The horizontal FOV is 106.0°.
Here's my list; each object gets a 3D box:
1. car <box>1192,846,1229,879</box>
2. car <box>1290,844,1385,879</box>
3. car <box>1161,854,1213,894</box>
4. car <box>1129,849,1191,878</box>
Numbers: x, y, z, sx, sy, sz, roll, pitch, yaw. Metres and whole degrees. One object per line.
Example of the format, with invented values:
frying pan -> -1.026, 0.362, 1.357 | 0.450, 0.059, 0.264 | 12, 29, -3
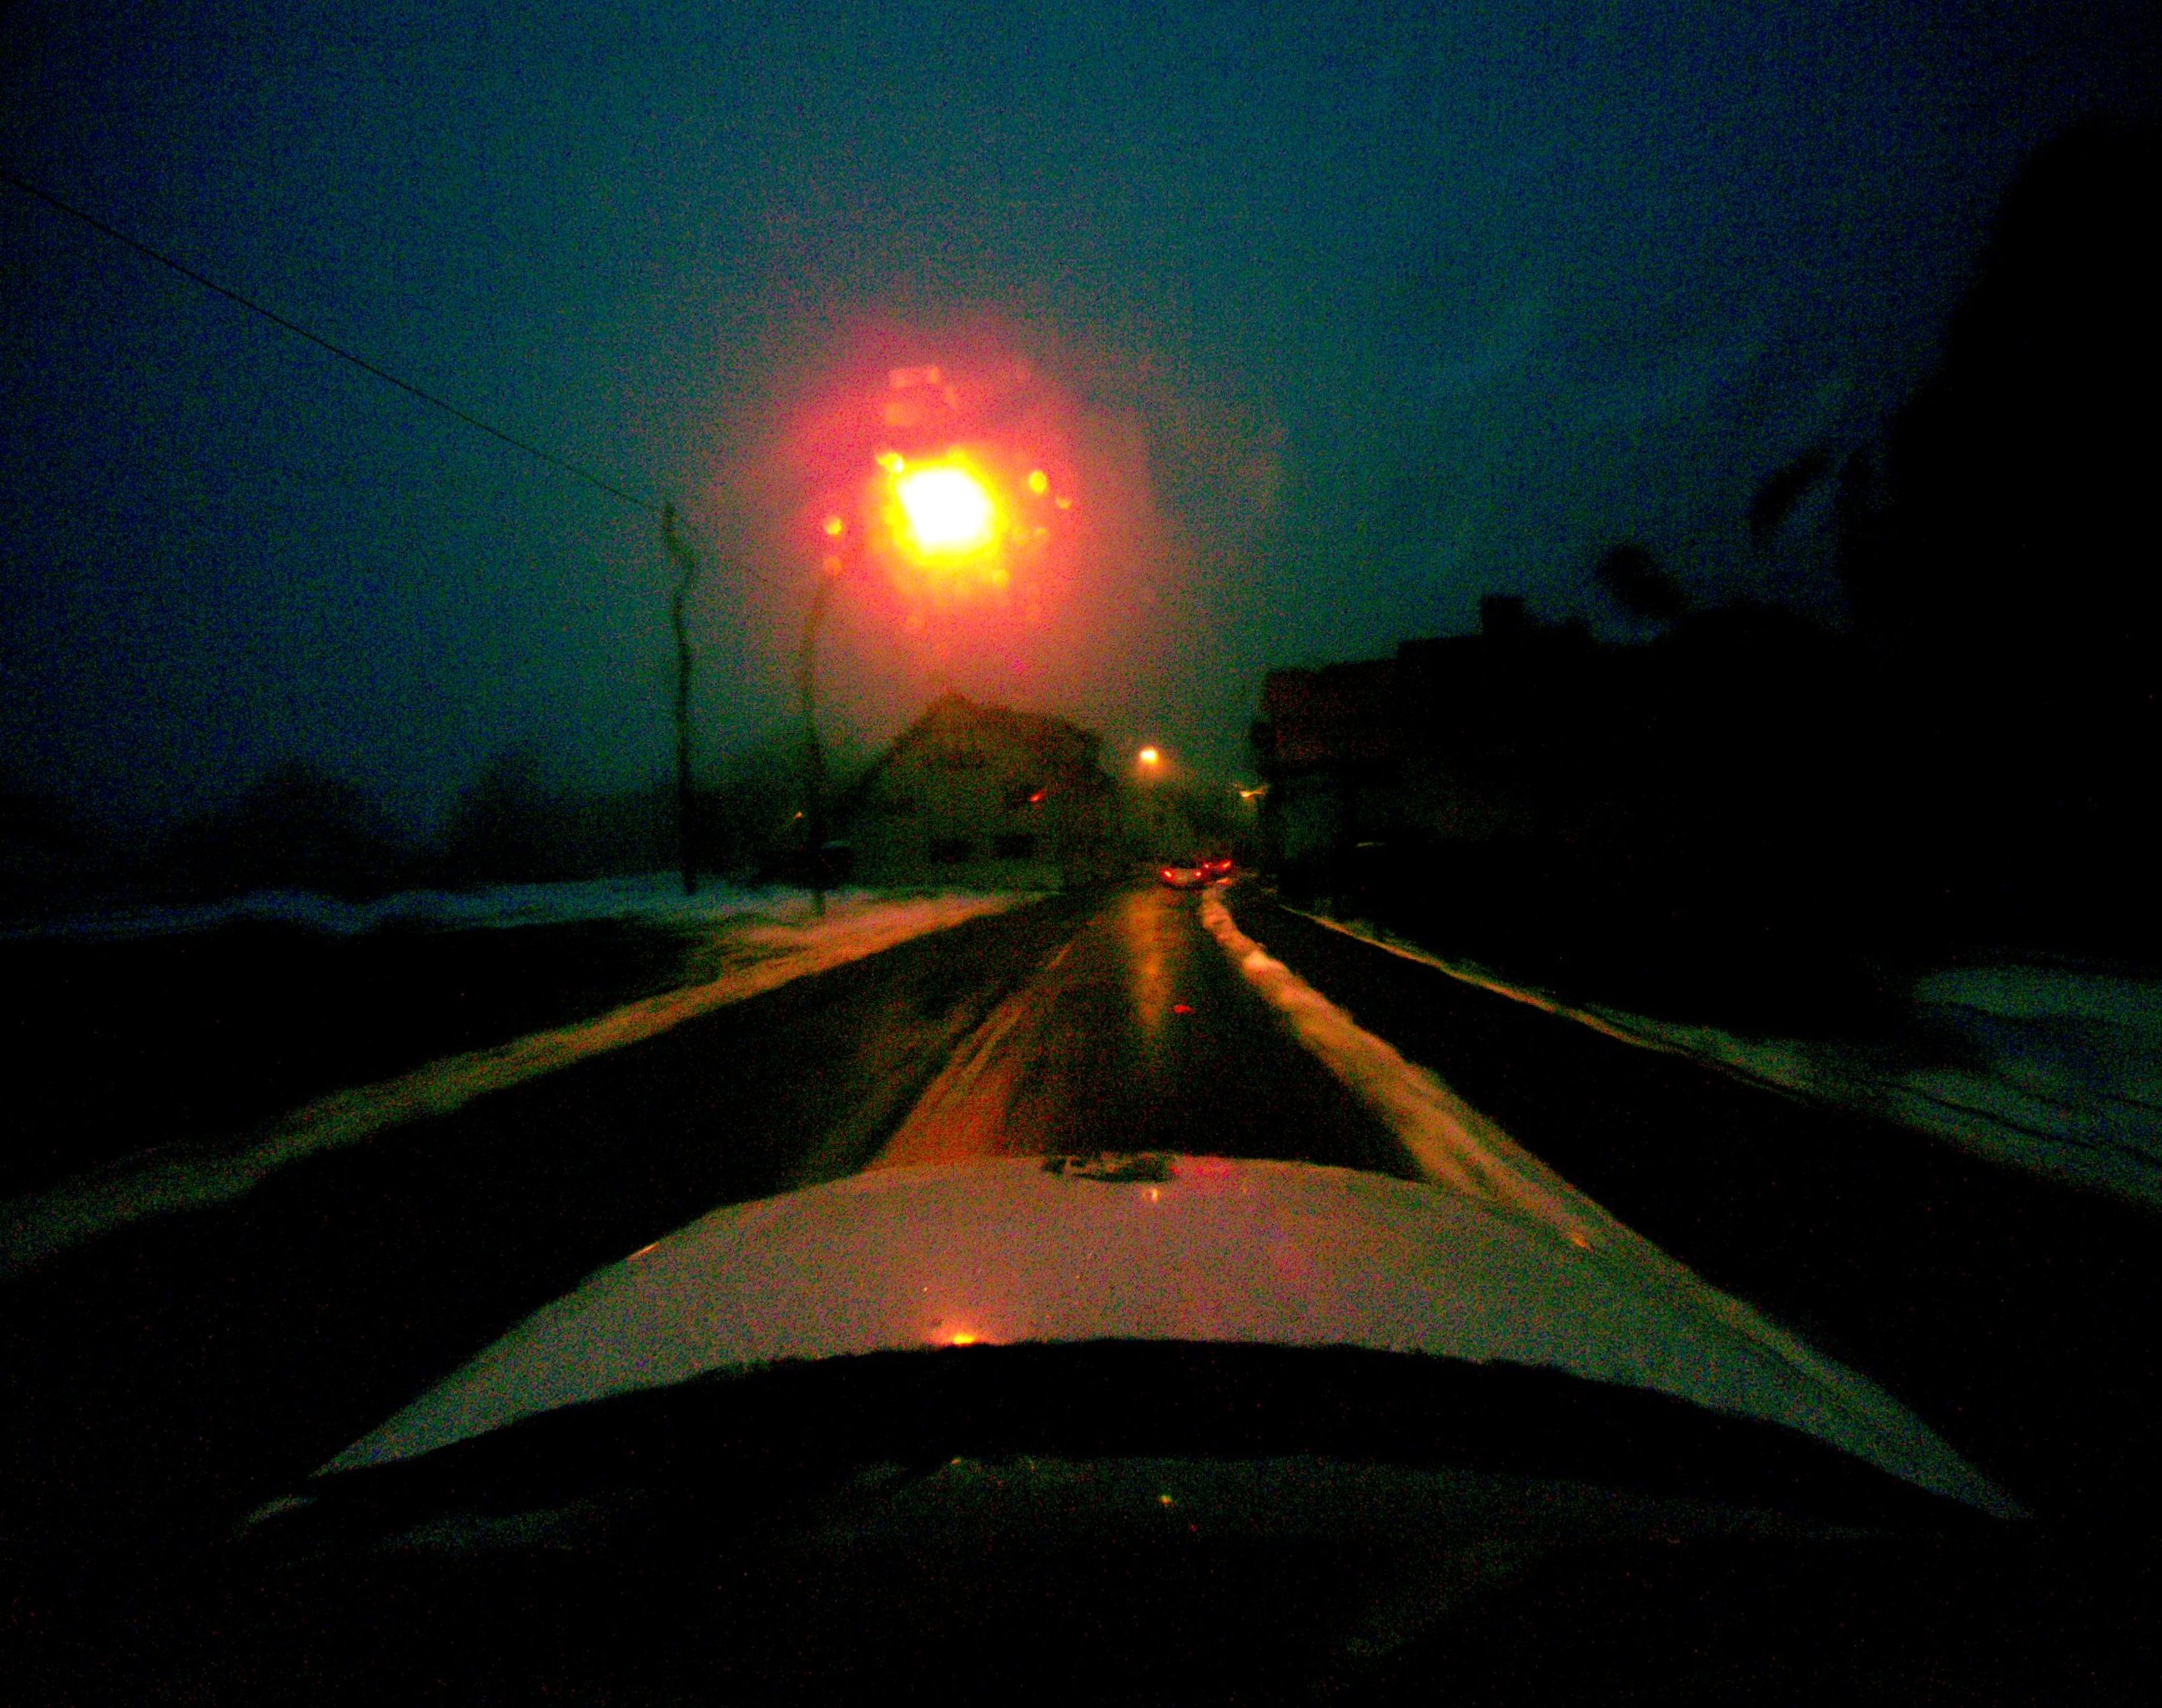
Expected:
car -> 8.863, 0.554, 55.385 | 1.979, 1.837, 4.017 | -5, 2, 15
car -> 11.578, 0.332, 37.012 | 3.962, 1.453, 1.720 | -1, 2, 10
car -> 5.172, 0.942, 39.269 | 1.979, 1.507, 4.016 | -5, 2, 13
car -> 6.685, 0.779, 68.893 | 4.688, 2.013, 2.013 | -4, 2, 27
